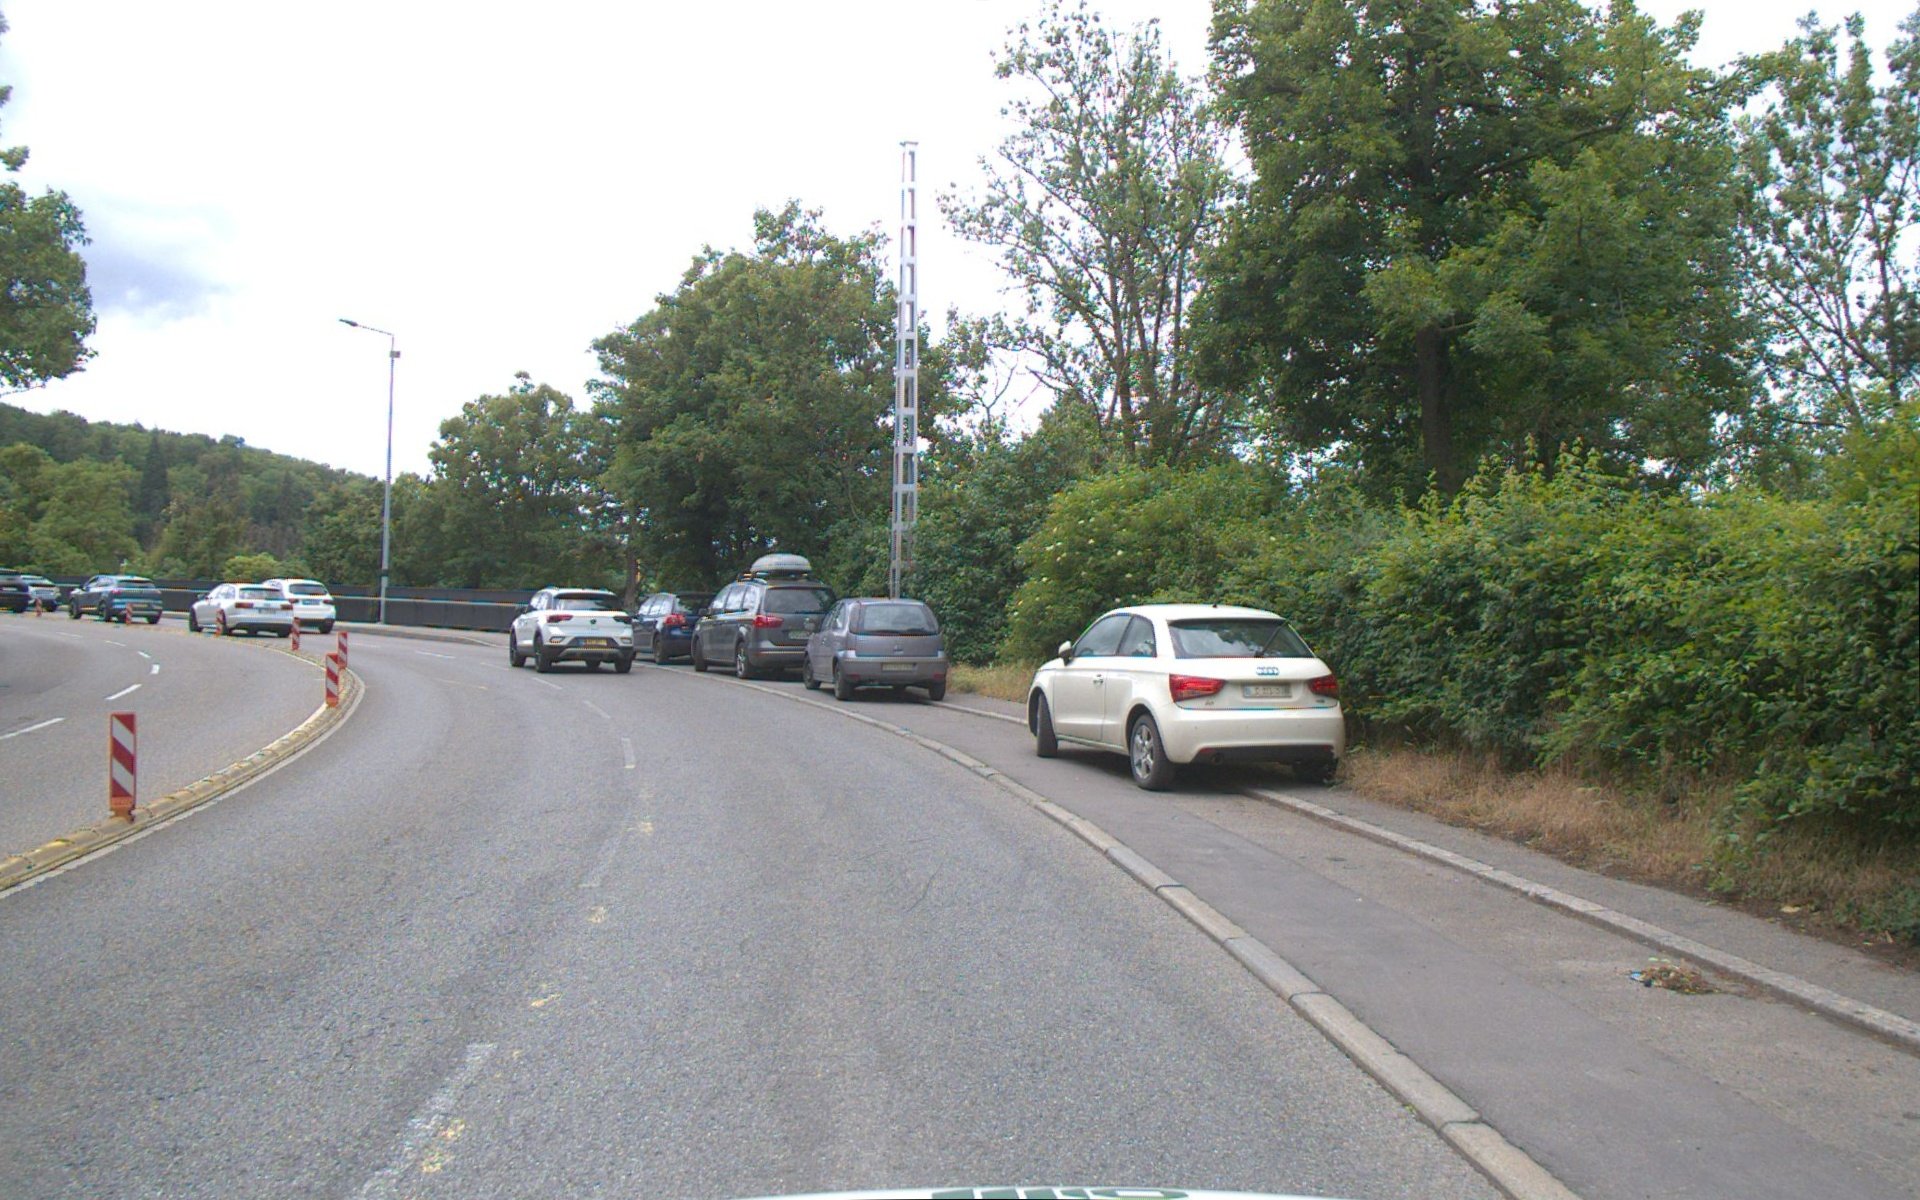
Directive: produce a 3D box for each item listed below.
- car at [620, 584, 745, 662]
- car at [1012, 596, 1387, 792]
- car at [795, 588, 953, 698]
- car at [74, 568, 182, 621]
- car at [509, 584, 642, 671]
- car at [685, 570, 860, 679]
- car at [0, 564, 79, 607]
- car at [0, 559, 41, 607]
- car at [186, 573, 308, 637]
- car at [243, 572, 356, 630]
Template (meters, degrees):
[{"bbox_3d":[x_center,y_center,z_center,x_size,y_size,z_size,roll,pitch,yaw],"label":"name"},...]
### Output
[{"bbox_3d":[-6.017,0.458,35.525,1.638,1.513,4.004,2,0,-24],"label":"car"},{"bbox_3d":[1.921,0.695,14.547,1.749,1.443,3.981,0,0,-17],"label":"car"},{"bbox_3d":[-1.378,0.603,24.960,1.613,1.489,3.985,2,0,-14],"label":"car"},{"bbox_3d":[-28.329,-0.198,56.296,3.941,1.568,1.987,3,-1,43],"label":"car"},{"bbox_3d":[-7.522,0.487,32.126,1.843,1.563,3.775,0,0,-24],"label":"car"},{"bbox_3d":[-3.512,0.392,30.167,1.776,1.803,4.571,2,0,-25],"label":"car"},{"bbox_3d":[-37.695,-0.607,67.072,3.455,1.552,1.698,3,-1,25],"label":"car"},{"bbox_3d":[-36.696,-0.701,62.591,3.921,1.719,1.814,3,-1,37],"label":"car"},{"bbox_3d":[-20.434,0.120,47.346,1.898,1.601,3.936,4,-1,-44],"label":"car"},{"bbox_3d":[-21.121,0.024,52.848,1.984,1.614,3.937,4,-1,-43],"label":"car"}]
